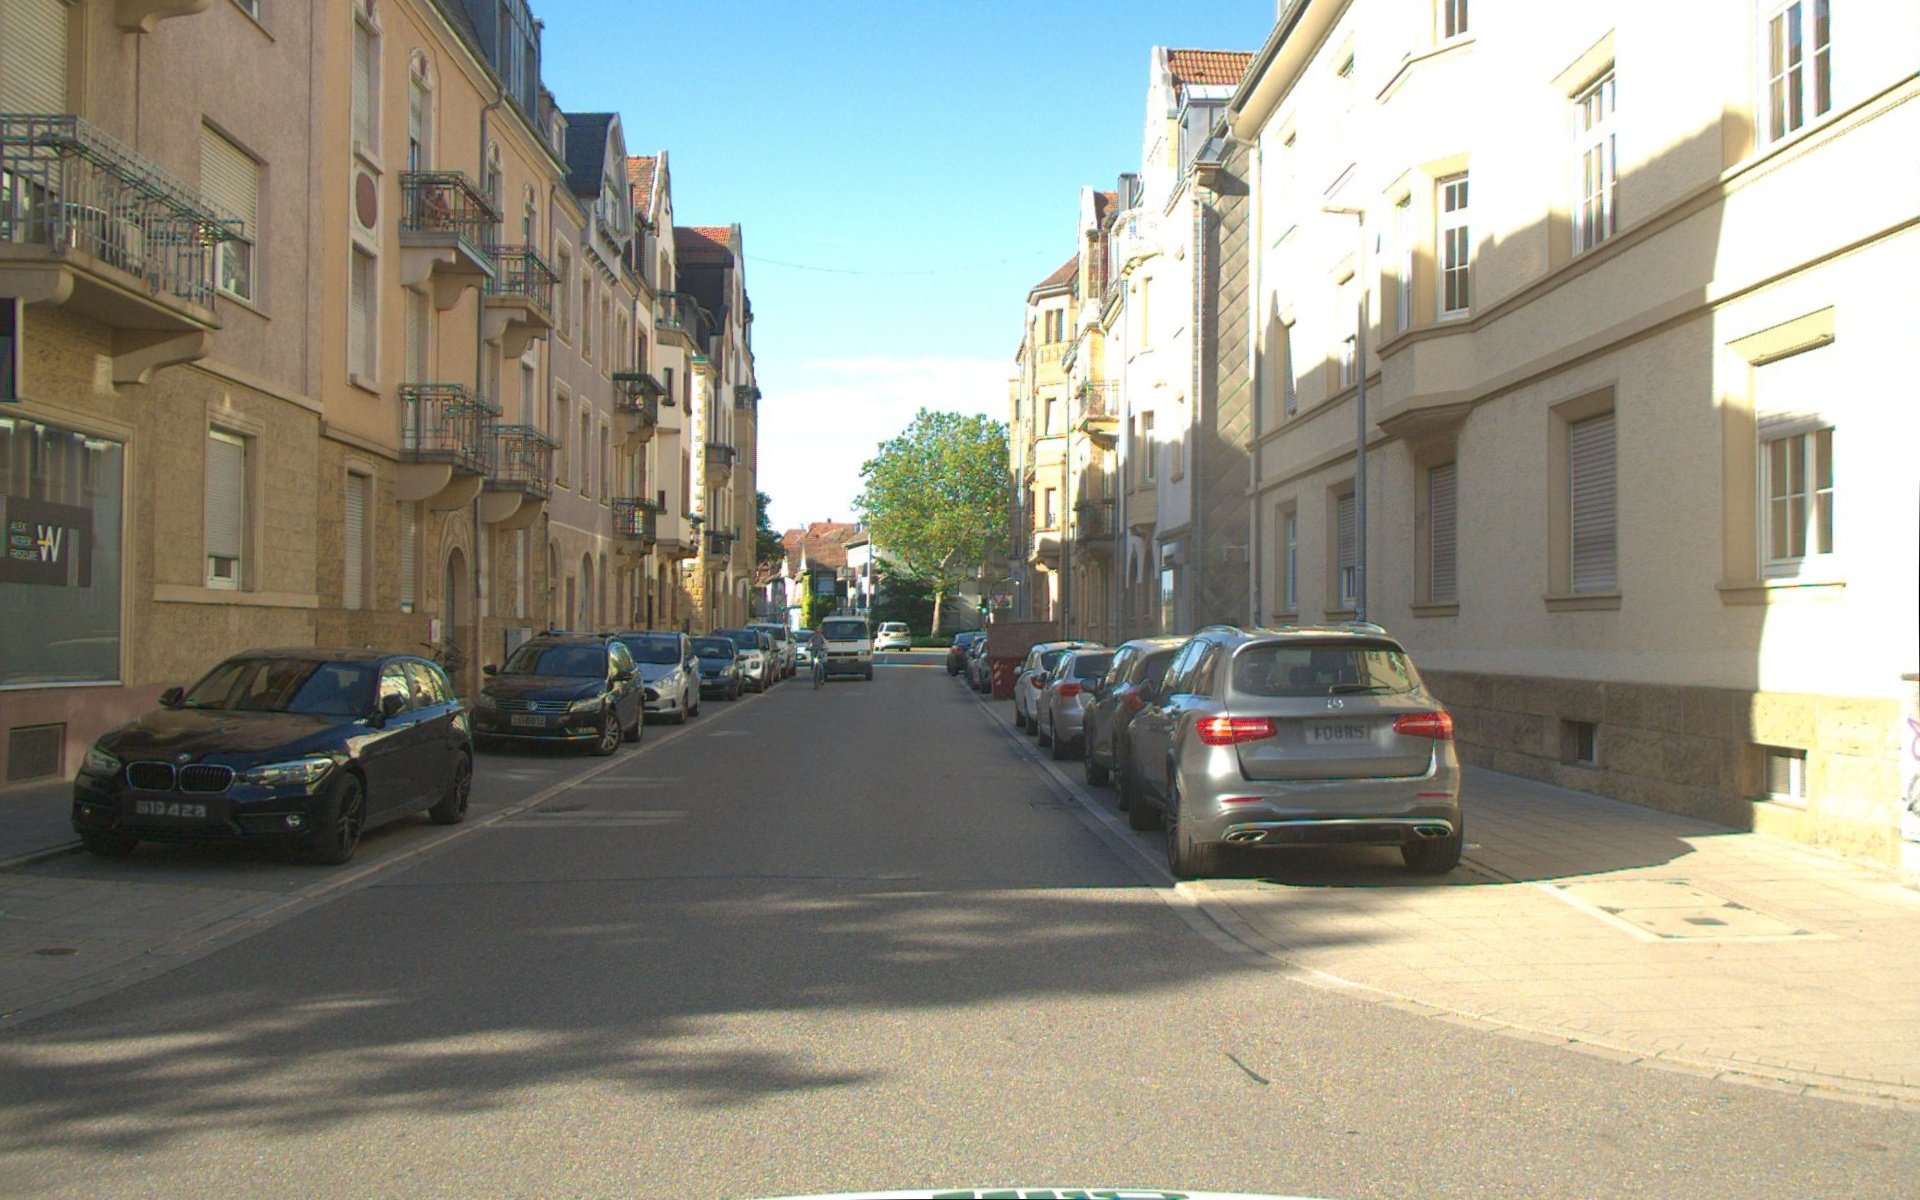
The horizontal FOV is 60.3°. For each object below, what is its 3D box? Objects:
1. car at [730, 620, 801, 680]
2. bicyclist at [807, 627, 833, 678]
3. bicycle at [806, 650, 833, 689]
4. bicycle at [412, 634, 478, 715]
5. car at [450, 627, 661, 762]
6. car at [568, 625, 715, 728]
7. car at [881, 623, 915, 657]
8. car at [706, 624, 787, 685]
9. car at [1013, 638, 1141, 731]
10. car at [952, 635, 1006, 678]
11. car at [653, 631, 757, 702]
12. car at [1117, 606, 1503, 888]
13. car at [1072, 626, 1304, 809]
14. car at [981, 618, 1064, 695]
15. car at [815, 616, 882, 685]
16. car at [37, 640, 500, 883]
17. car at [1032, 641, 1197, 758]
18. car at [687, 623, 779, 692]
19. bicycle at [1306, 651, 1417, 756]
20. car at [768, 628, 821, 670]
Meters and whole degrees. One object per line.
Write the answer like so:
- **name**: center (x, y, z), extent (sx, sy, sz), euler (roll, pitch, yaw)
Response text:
- **car**: center (-6.412, 1.668, 54.963), extent (1.964, 1.819, 4.484), euler (3, -2, -3)
- **bicyclist**: center (-3.897, 1.462, 46.078), extent (0.649, 1.410, 0.753), euler (-1, -2, -3)
- **bicycle**: center (-3.898, 1.929, 46.046), extent (0.649, 1.037, 2.065), euler (-1, -2, -3)
- **bicycle**: center (-8.729, 1.247, 28.110), extent (0.530, 1.324, 1.866), euler (1, -1, -1)
- **car**: center (-5.459, 1.250, 22.928), extent (1.964, 1.610, 4.484), euler (3, -2, -3)
- **car**: center (-5.733, 1.368, 30.292), extent (1.964, 1.647, 4.484), euler (3, -2, -3)
- **car**: center (-3.736, 2.451, 99.931), extent (1.963, 1.947, 4.484), euler (2, -2, -2)
- **car**: center (-6.325, 1.628, 49.428), extent (1.964, 1.647, 4.484), euler (3, -2, -3)
- **car**: center (1.936, 1.443, 28.533), extent (1.801, 1.457, 4.027), euler (-1, -3, -2)
- **car**: center (0.663, 2.071, 60.108), extent (1.801, 1.457, 4.026), euler (-1, -3, -2)
- **car**: center (-5.981, 1.563, 39.276), extent (1.939, 1.508, 4.325), euler (3, -2, -3)
- **car**: center (2.358, 0.997, 12.472), extent (1.874, 1.674, 4.772), euler (-1, -3, 0)
- **car**: center (2.215, 1.158, 17.087), extent (1.710, 1.636, 4.027), euler (-1, -3, -2)
- **car**: center (1.515, 1.448, 41.322), extent (1.801, 1.818, 4.026), euler (0, -3, -2)
- **car**: center (-3.541, 1.629, 53.110), extent (1.964, 2.035, 4.484), euler (2, -2, -3)
- **car**: center (-4.919, 1.079, 12.491), extent (1.645, 1.451, 4.273), euler (2, -2, 0)
- **car**: center (2.064, 1.354, 23.145), extent (1.801, 1.457, 4.027), euler (-1, -3, -2)
- **car**: center (-5.960, 1.516, 43.938), extent (1.964, 1.647, 4.484), euler (3, -2, -3)
- **bicycle**: center (5.291, 1.338, 21.963), extent (0.746, 1.268, 2.590), euler (0, -1, -2)
- **car**: center (-6.993, 2.085, 70.151), extent (1.964, 1.633, 4.484), euler (3, -2, -3)
